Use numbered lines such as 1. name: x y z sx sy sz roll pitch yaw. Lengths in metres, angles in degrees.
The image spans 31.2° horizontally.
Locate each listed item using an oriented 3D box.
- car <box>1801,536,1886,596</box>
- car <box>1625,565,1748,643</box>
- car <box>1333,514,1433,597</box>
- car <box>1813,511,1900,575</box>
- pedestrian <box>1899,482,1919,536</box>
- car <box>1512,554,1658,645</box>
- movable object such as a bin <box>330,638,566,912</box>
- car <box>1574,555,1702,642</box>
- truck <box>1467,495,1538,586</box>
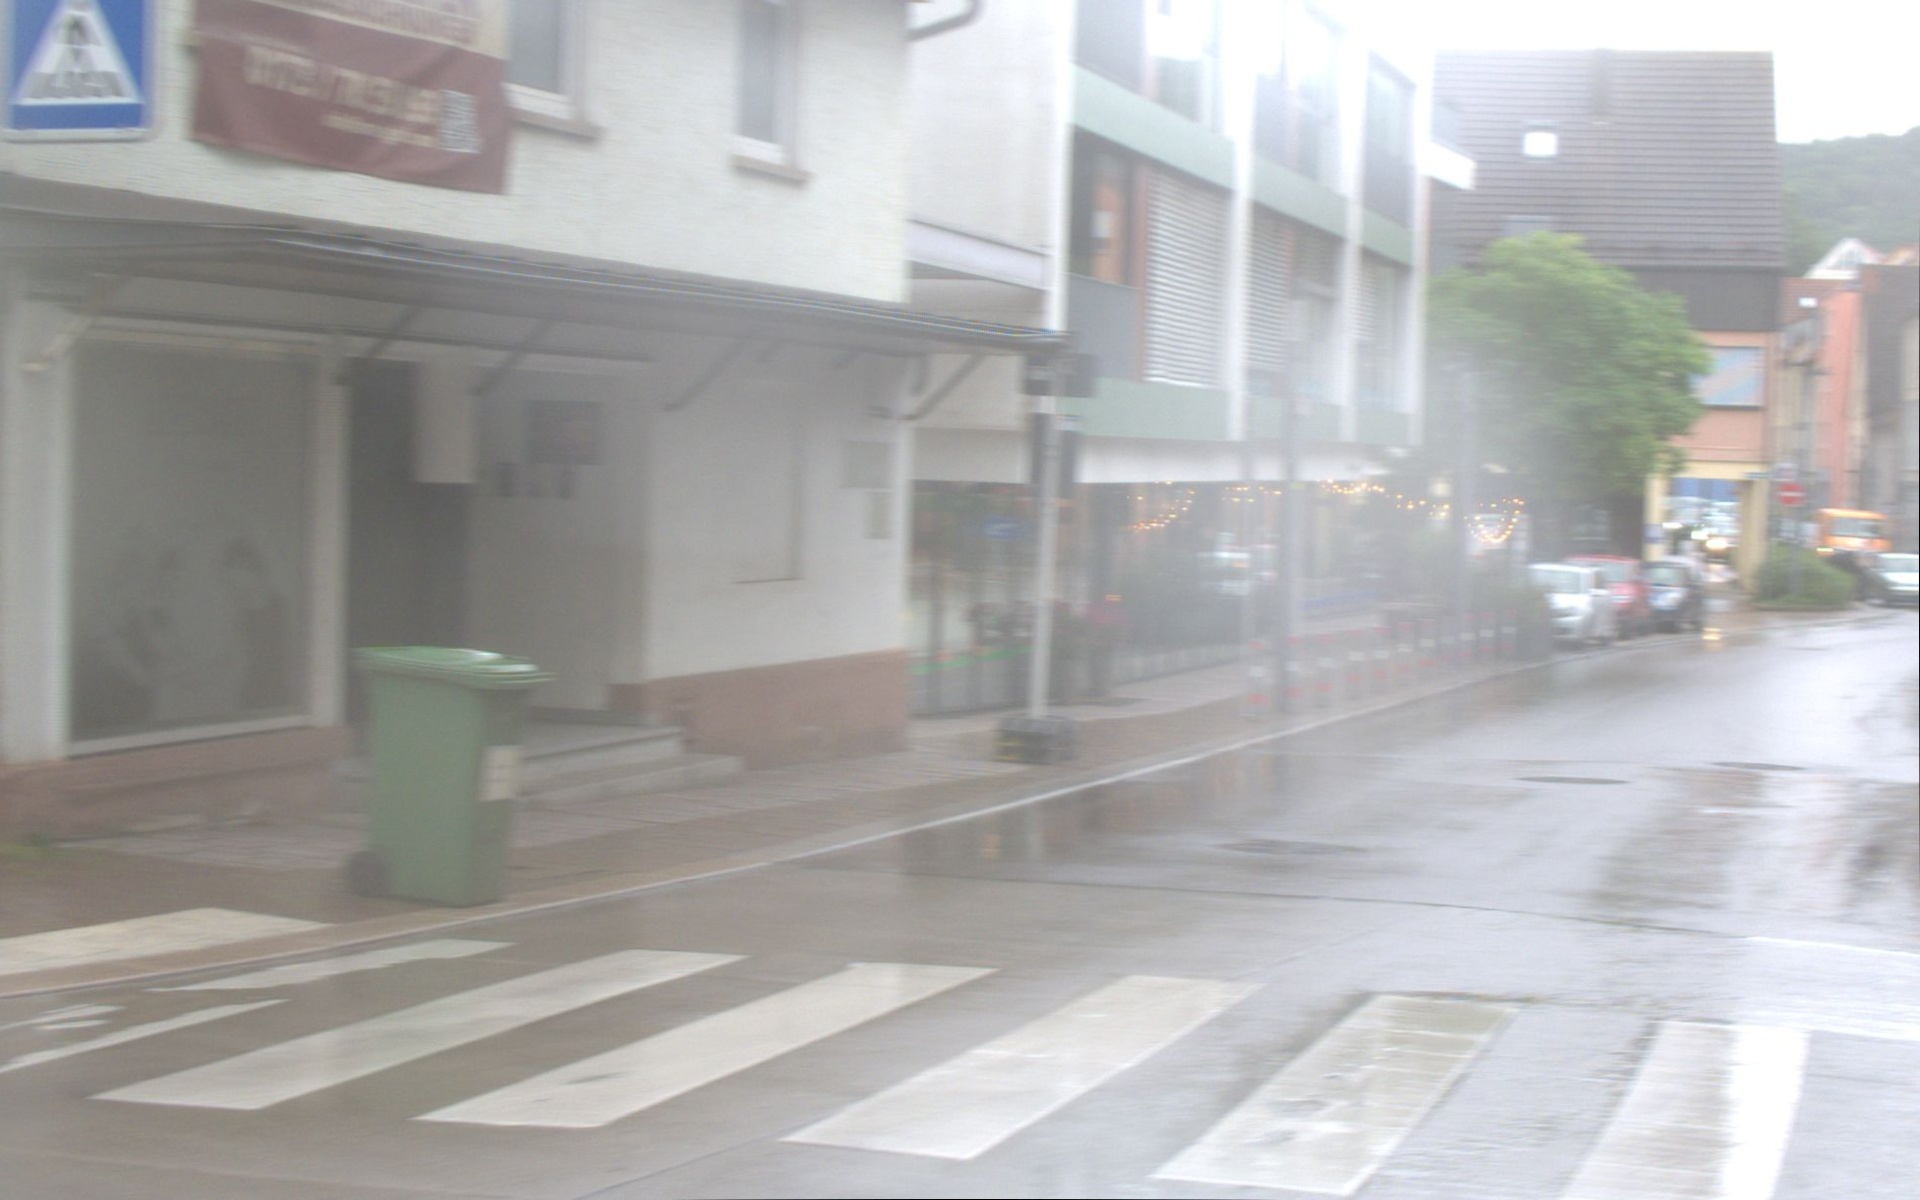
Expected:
1. car: 23.845 -0.931 92.915 1.715 1.453 3.909 3 2 8
2. car: 15.057 0.058 71.129 1.717 1.453 3.906 4 2 22
3. car: 10.786 -1.148 87.452 1.814 1.611 3.999 2 8 17
4. car: 30.672 -1.959 117.758 2.104 2.139 4.866 0 1 5
5. pedestrian: 35.651 -3.401 128.593 0.866 2.006 0.707 2 2 7
6. car: 11.097 -0.029 60.847 1.788 1.493 4.450 2 1 20
7. movable object such as a bin: -2.180 0.730 14.695 0.687 1.077 0.760 5 1 14
8. car: 13.135 -0.048 66.493 1.788 1.571 4.103 2 1 20
9. truck: 13.790 -1.530 87.318 1.598 2.055 3.192 0 5 13
